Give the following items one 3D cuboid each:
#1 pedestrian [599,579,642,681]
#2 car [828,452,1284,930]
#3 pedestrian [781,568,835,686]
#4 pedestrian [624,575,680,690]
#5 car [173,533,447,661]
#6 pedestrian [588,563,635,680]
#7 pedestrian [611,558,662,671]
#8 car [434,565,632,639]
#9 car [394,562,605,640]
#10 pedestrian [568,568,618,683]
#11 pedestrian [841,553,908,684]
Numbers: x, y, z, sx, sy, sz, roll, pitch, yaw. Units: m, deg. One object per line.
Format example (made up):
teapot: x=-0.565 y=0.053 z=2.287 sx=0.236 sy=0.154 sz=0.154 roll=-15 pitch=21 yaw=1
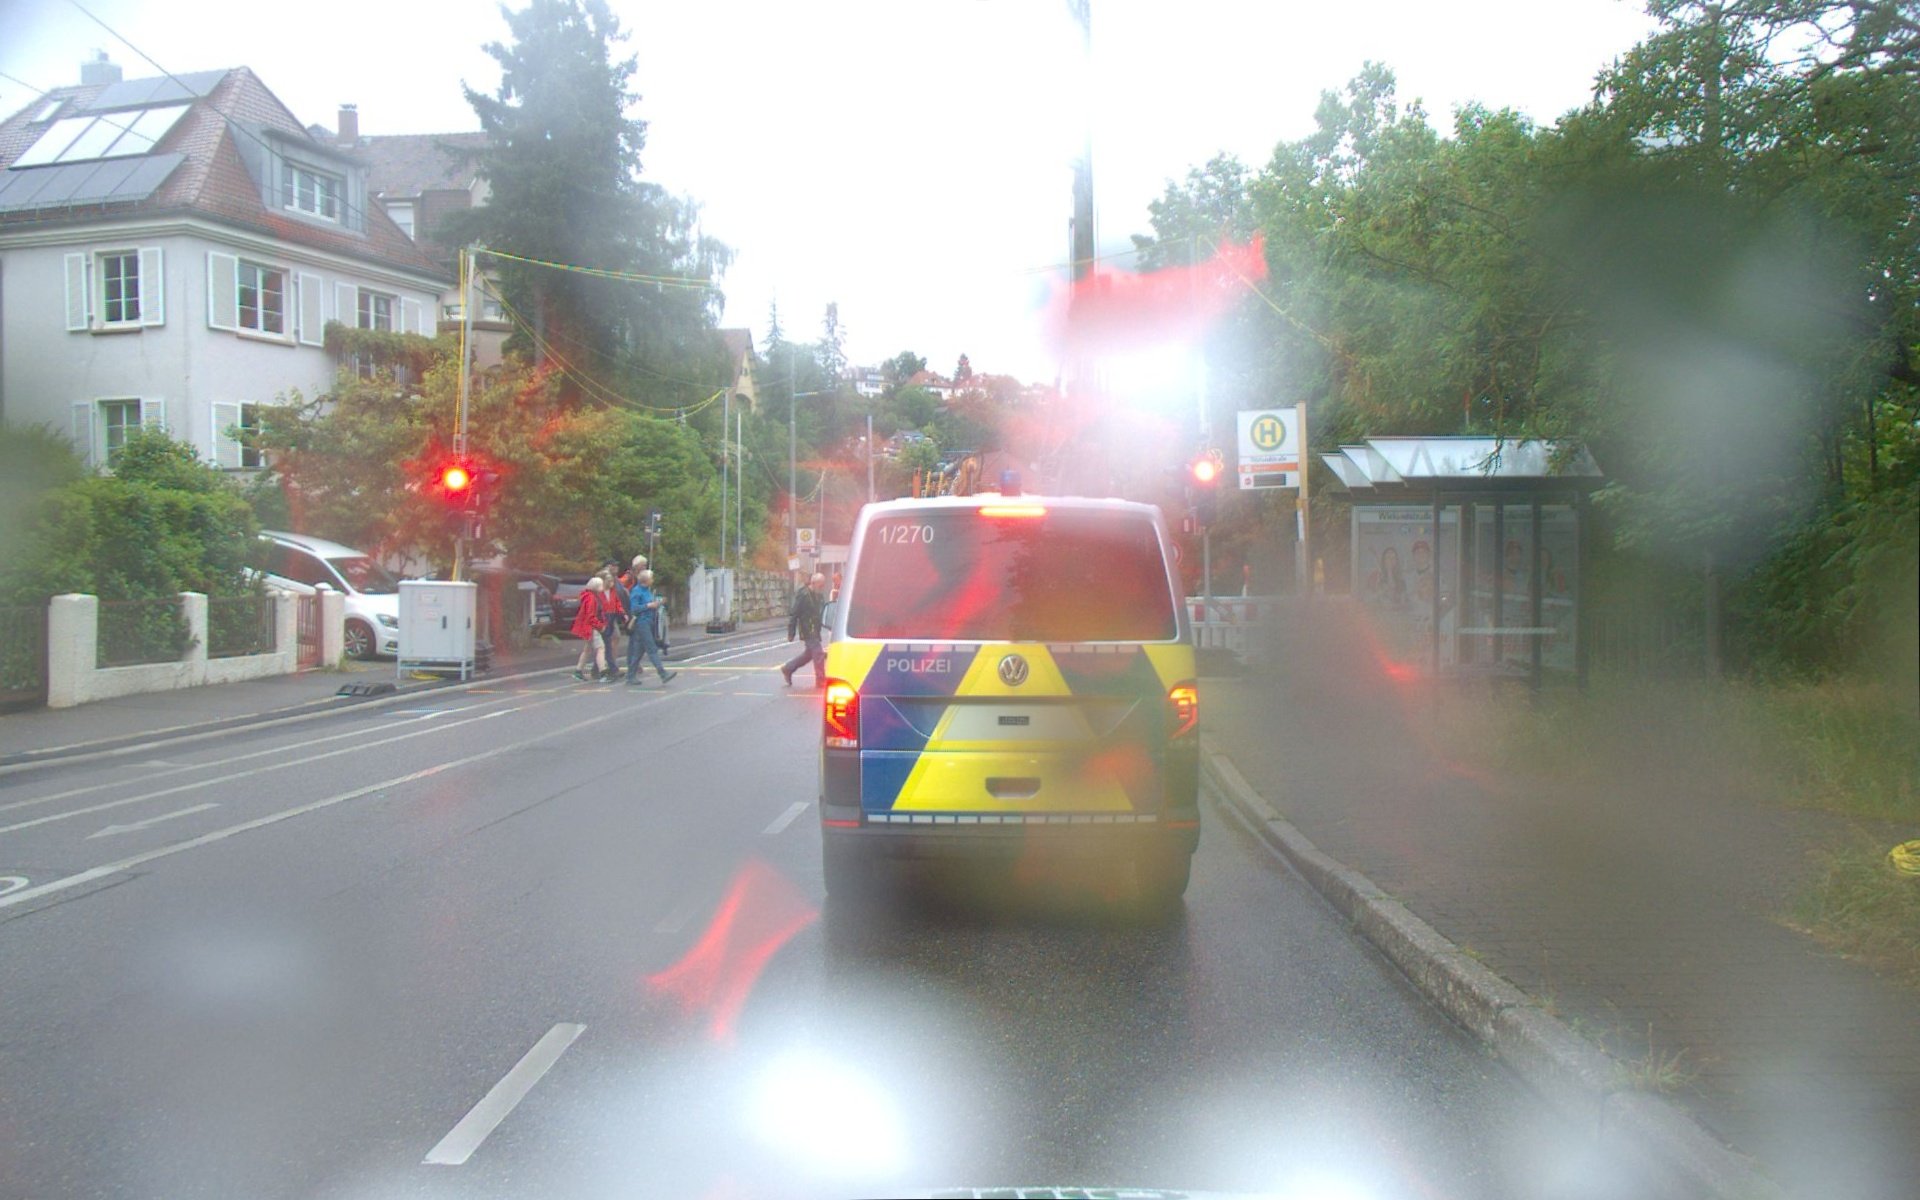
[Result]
pedestrian: x=-5.212 y=0.465 z=25.380 sx=0.514 sy=1.533 sz=0.429 roll=1 pitch=-2 yaw=1
car: x=0.473 y=0.368 z=9.345 sx=1.952 sy=2.049 sz=4.403 roll=0 pitch=1 yaw=2
pedestrian: x=-2.142 y=0.381 z=23.360 sx=0.672 sy=1.632 sz=0.605 roll=2 pitch=-2 yaw=-2
pedestrian: x=-4.269 y=0.450 z=22.944 sx=0.613 sy=1.548 sz=0.593 roll=1 pitch=-2 yaw=1
car: x=-10.867 y=-0.069 z=27.765 sx=3.902 sy=2.049 sz=1.832 roll=0 pitch=0 yaw=11
pedestrian: x=-5.146 y=0.317 z=24.436 sx=0.537 sy=1.697 sz=0.414 roll=1 pitch=-2 yaw=1
pedestrian: x=-5.110 y=0.236 z=26.132 sx=0.613 sy=1.745 sz=0.593 roll=1 pitch=-2 yaw=1
car: x=-9.624 y=0.055 z=37.378 sx=3.902 sy=1.512 sz=1.761 roll=1 pitch=-2 yaw=10
car: x=-9.778 y=0.040 z=35.227 sx=3.902 sy=1.512 sz=1.761 roll=1 pitch=-2 yaw=10
pedestrian: x=-5.268 y=0.369 z=23.781 sx=0.551 sy=1.610 sz=0.468 roll=1 pitch=-2 yaw=1
pedestrian: x=-1.210 y=0.268 z=23.585 sx=0.872 sy=1.819 sz=0.828 roll=2 pitch=-2 yaw=-2
